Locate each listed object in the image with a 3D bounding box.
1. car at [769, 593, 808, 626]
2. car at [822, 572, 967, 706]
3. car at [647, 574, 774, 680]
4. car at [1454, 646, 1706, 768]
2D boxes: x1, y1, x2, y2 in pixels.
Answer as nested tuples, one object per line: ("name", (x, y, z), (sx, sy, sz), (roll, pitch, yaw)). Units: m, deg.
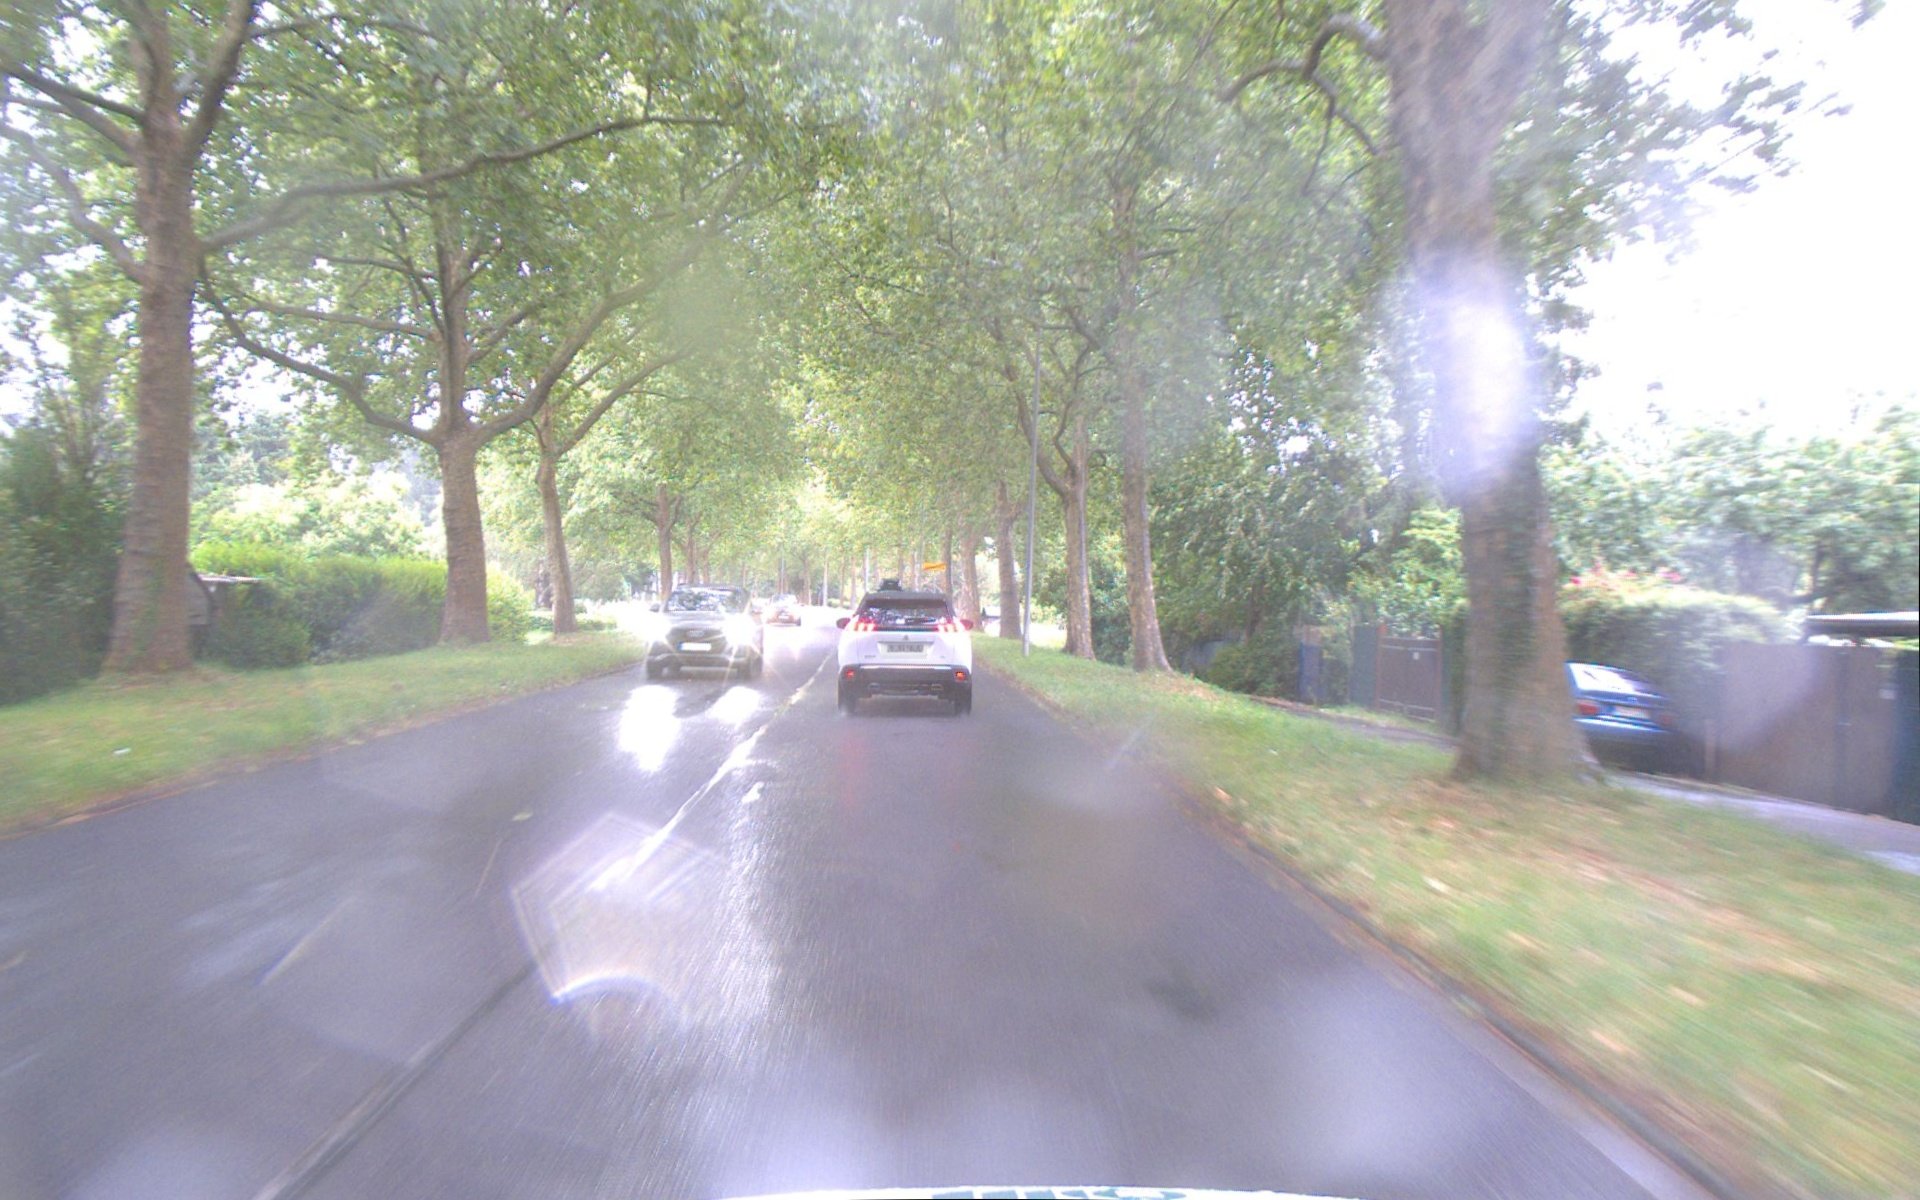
("car", (-8.503, 0.468, 82.023), (1.810, 1.528, 3.995), (2, 0, -6))
("car", (-0.809, 0.478, 22.490), (1.757, 1.606, 3.844), (2, 0, 0))
("car", (-4.515, 0.464, 30.520), (1.772, 1.758, 4.453), (2, 0, -2))
("car", (8.905, 1.493, 24.134), (1.762, 1.348, 3.995), (6, -1, -6))
